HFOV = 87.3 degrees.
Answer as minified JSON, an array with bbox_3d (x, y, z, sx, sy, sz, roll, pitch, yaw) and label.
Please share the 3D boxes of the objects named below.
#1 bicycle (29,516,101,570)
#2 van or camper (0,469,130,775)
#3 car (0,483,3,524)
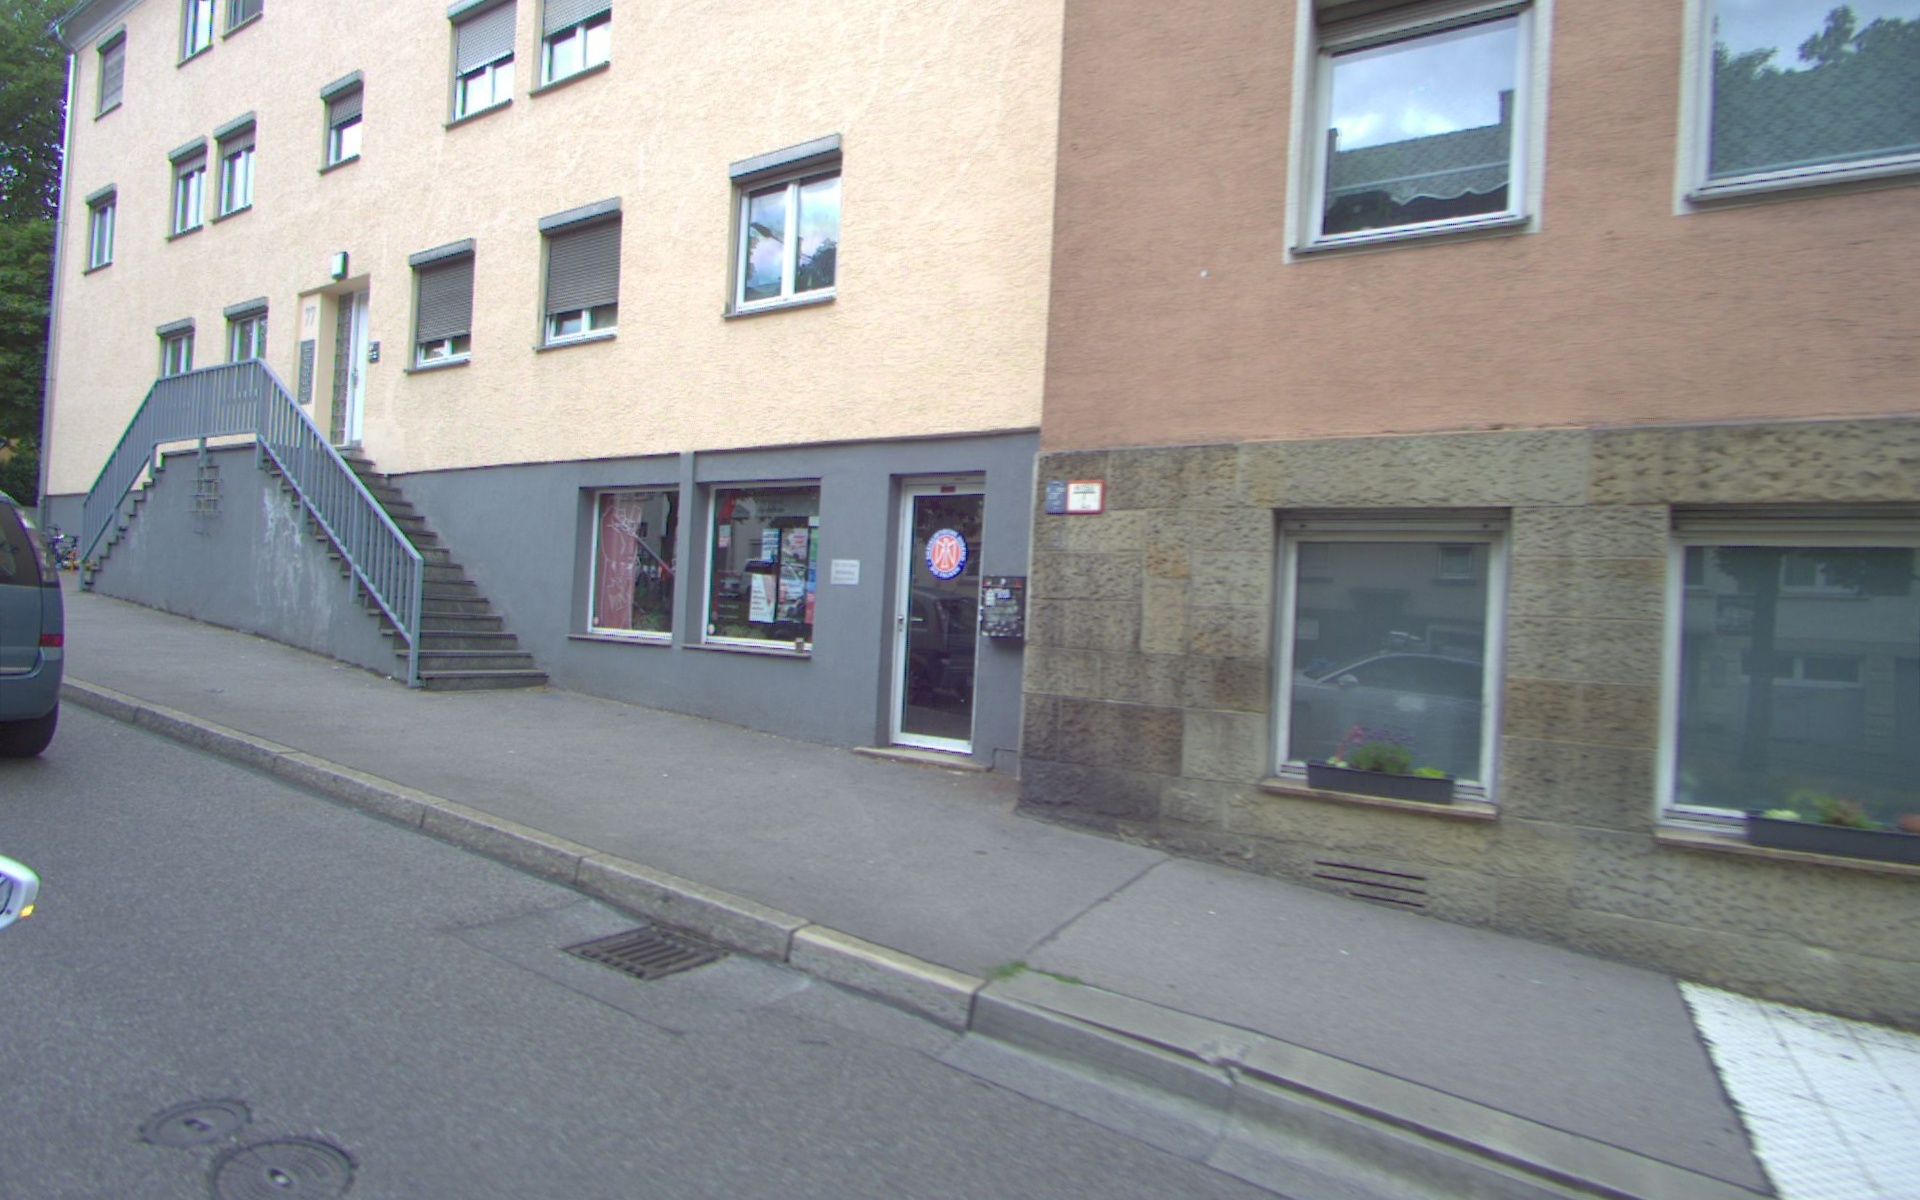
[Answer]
[{"bbox_3d":[-15.126,-0.965,16.987,1.532,0.783,0.488,6,1,33],"label":"bicycle"},{"bbox_3d":[-6.732,-0.083,5.809,3.584,1.596,1.739,6,-2,30],"label":"van or camper"},{"bbox_3d":[-35.879,-3.585,34.415,1.828,1.447,4.127,7,1,20],"label":"car"}]
